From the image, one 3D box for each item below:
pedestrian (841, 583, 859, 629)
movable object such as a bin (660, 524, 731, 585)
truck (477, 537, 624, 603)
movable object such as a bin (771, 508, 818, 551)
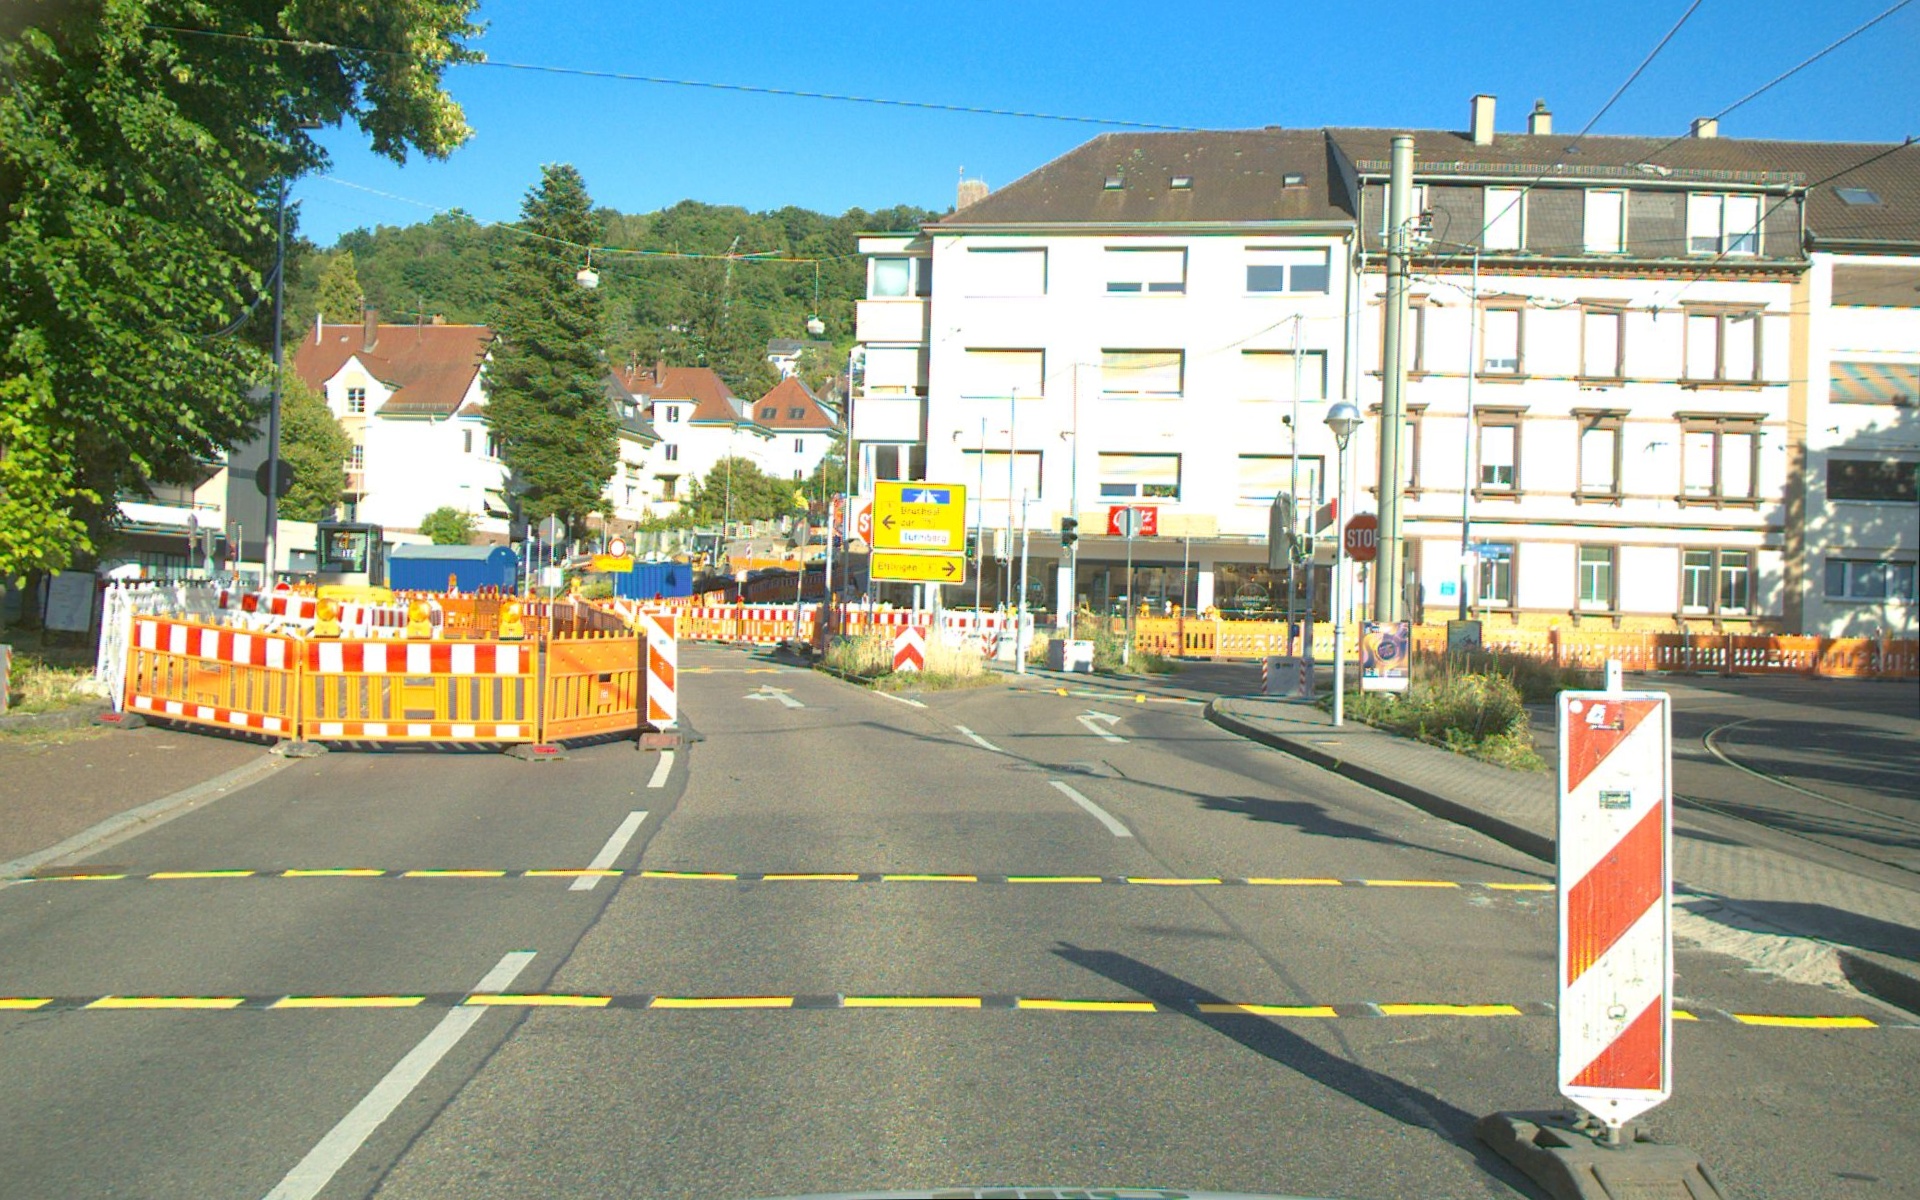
[{"bbox_3d":[-4.349,0.238,65.679,0.627,1.791,0.718,1,0,-1],"label":"pedestrian"},{"bbox_3d":[-12.616,-2.141,79.155,2.144,2.737,4.003,1,0,9],"label":"movable object such as a bin"},{"bbox_3d":[-16.744,-1.146,68.396,2.306,2.458,9.159,1,0,10],"label":"truck"},{"bbox_3d":[-11.325,-4.835,113.631,2.144,2.737,4.003,1,0,9],"label":"movable object such as a bin"}]
